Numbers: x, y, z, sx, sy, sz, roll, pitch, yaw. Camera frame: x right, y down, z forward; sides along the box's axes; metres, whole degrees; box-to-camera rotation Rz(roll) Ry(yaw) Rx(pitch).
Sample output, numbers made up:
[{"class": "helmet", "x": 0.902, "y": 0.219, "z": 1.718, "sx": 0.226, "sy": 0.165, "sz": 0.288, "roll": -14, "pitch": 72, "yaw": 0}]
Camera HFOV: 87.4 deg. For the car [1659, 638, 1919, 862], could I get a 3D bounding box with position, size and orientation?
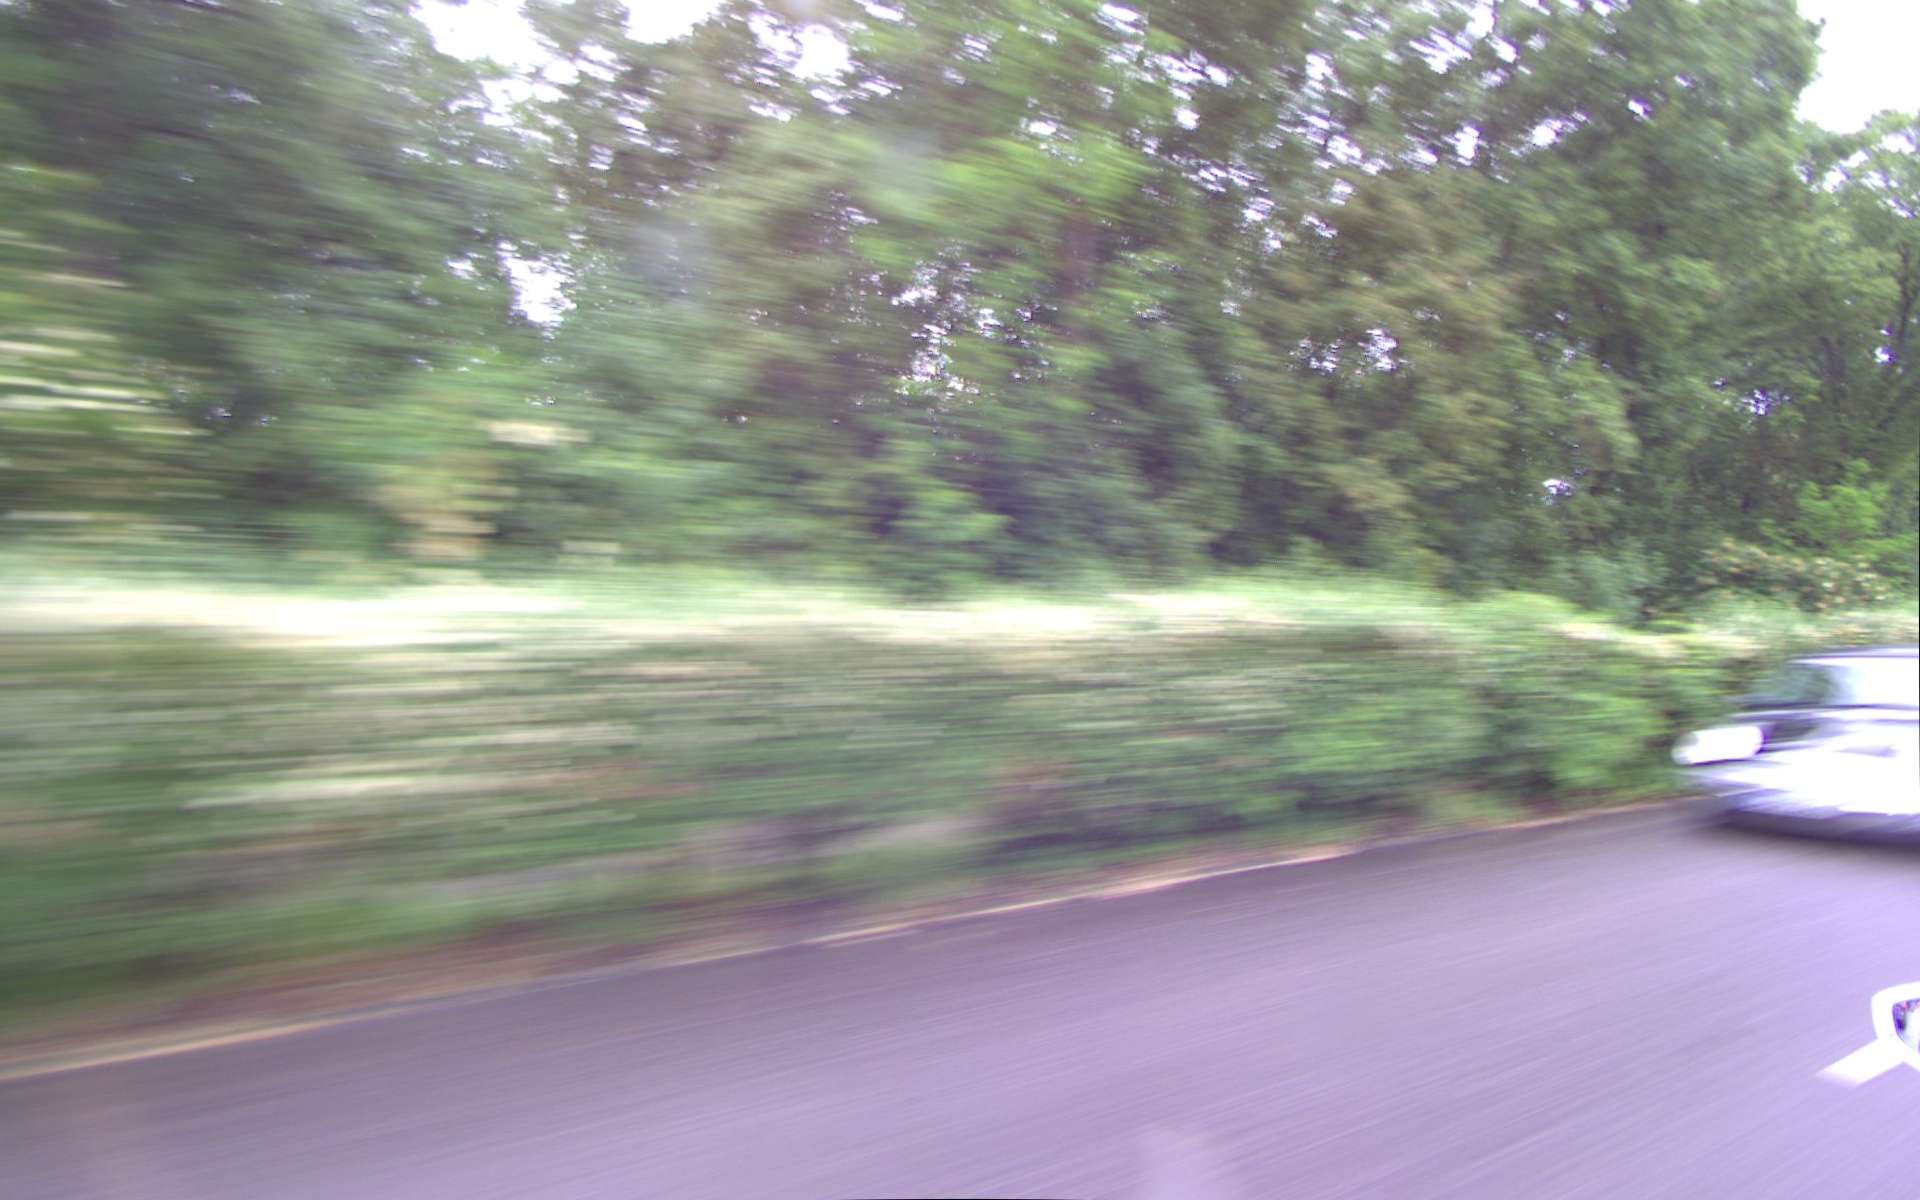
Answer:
[{"class": "car", "x": 7.353, "y": 1.009, "z": 7.886, "sx": 3.680, "sy": 1.374, "sz": 1.678, "roll": 0, "pitch": -2, "yaw": -31}]
